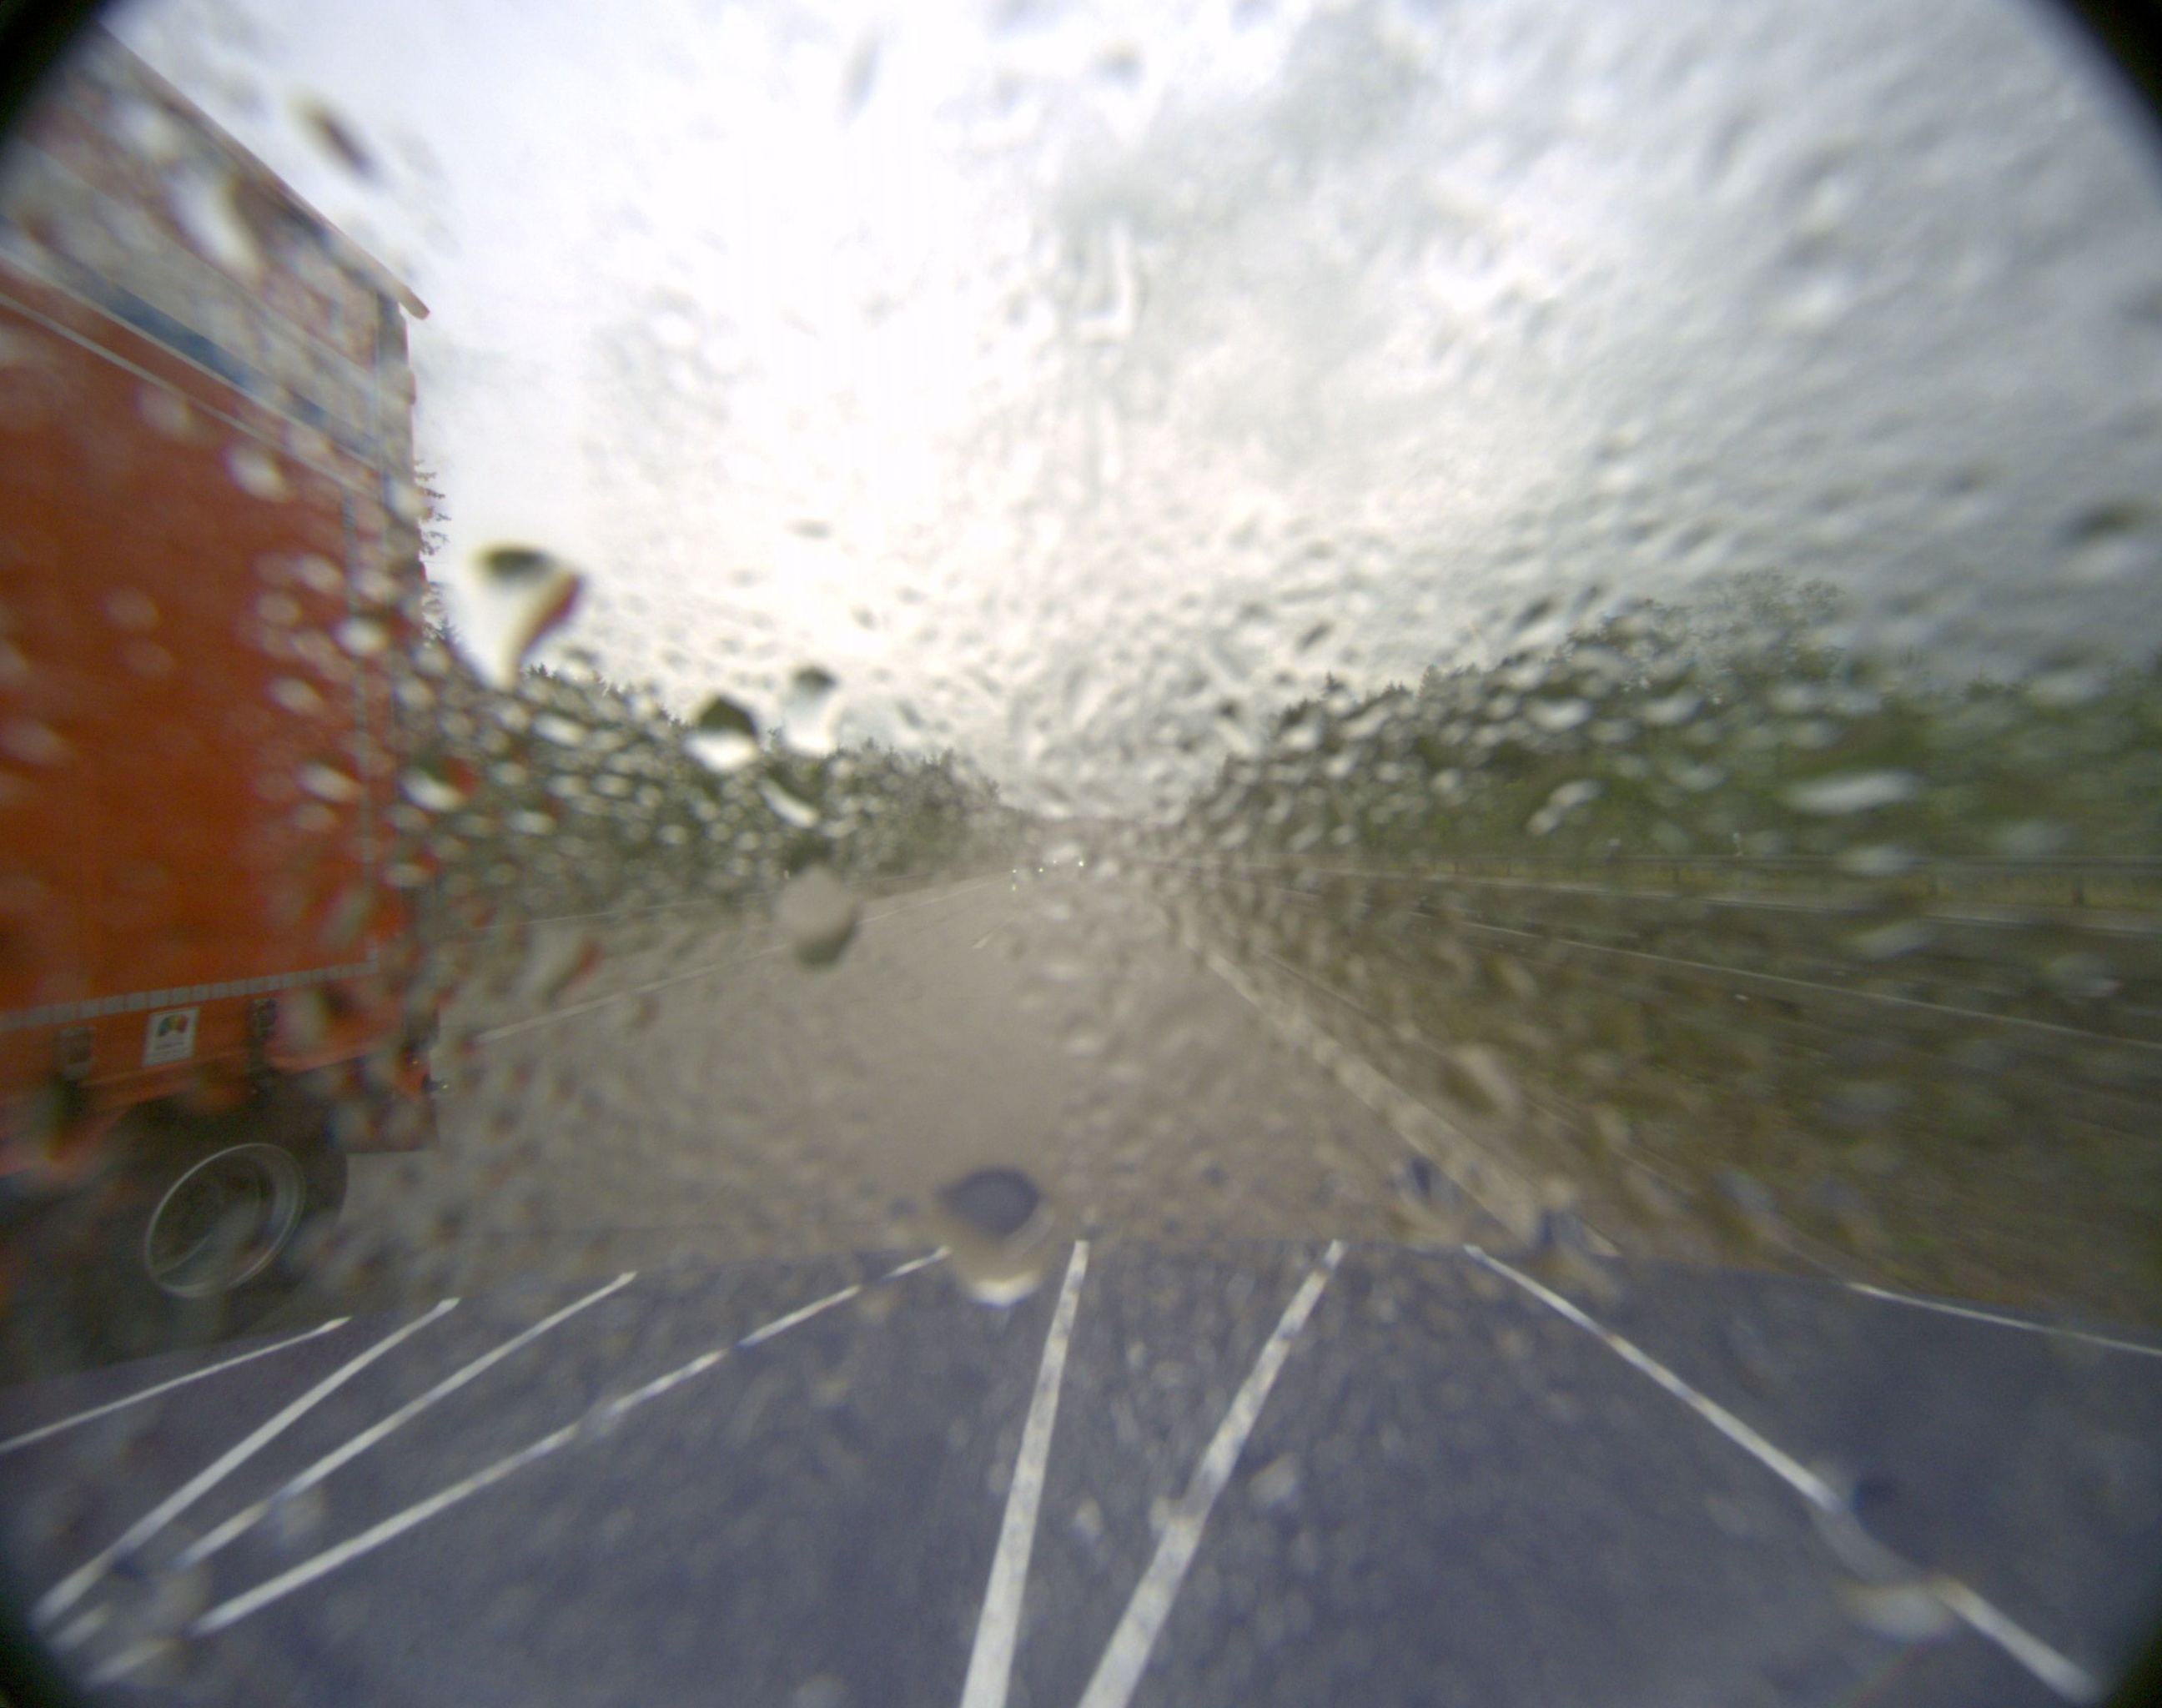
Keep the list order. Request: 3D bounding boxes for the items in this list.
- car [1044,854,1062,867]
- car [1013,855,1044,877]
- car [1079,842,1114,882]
[{"bbox_3d":[-2.786,0.634,76.045,1.496,1.189,3.668,-2,1,1],"label":"car"},{"bbox_3d":[-3.153,0.699,46.220,1.496,1.189,3.668,-2,1,1],"label":"car"},{"bbox_3d":[0.879,0.398,43.898,1.795,2.114,4.523,-2,1,1],"label":"car"}]
